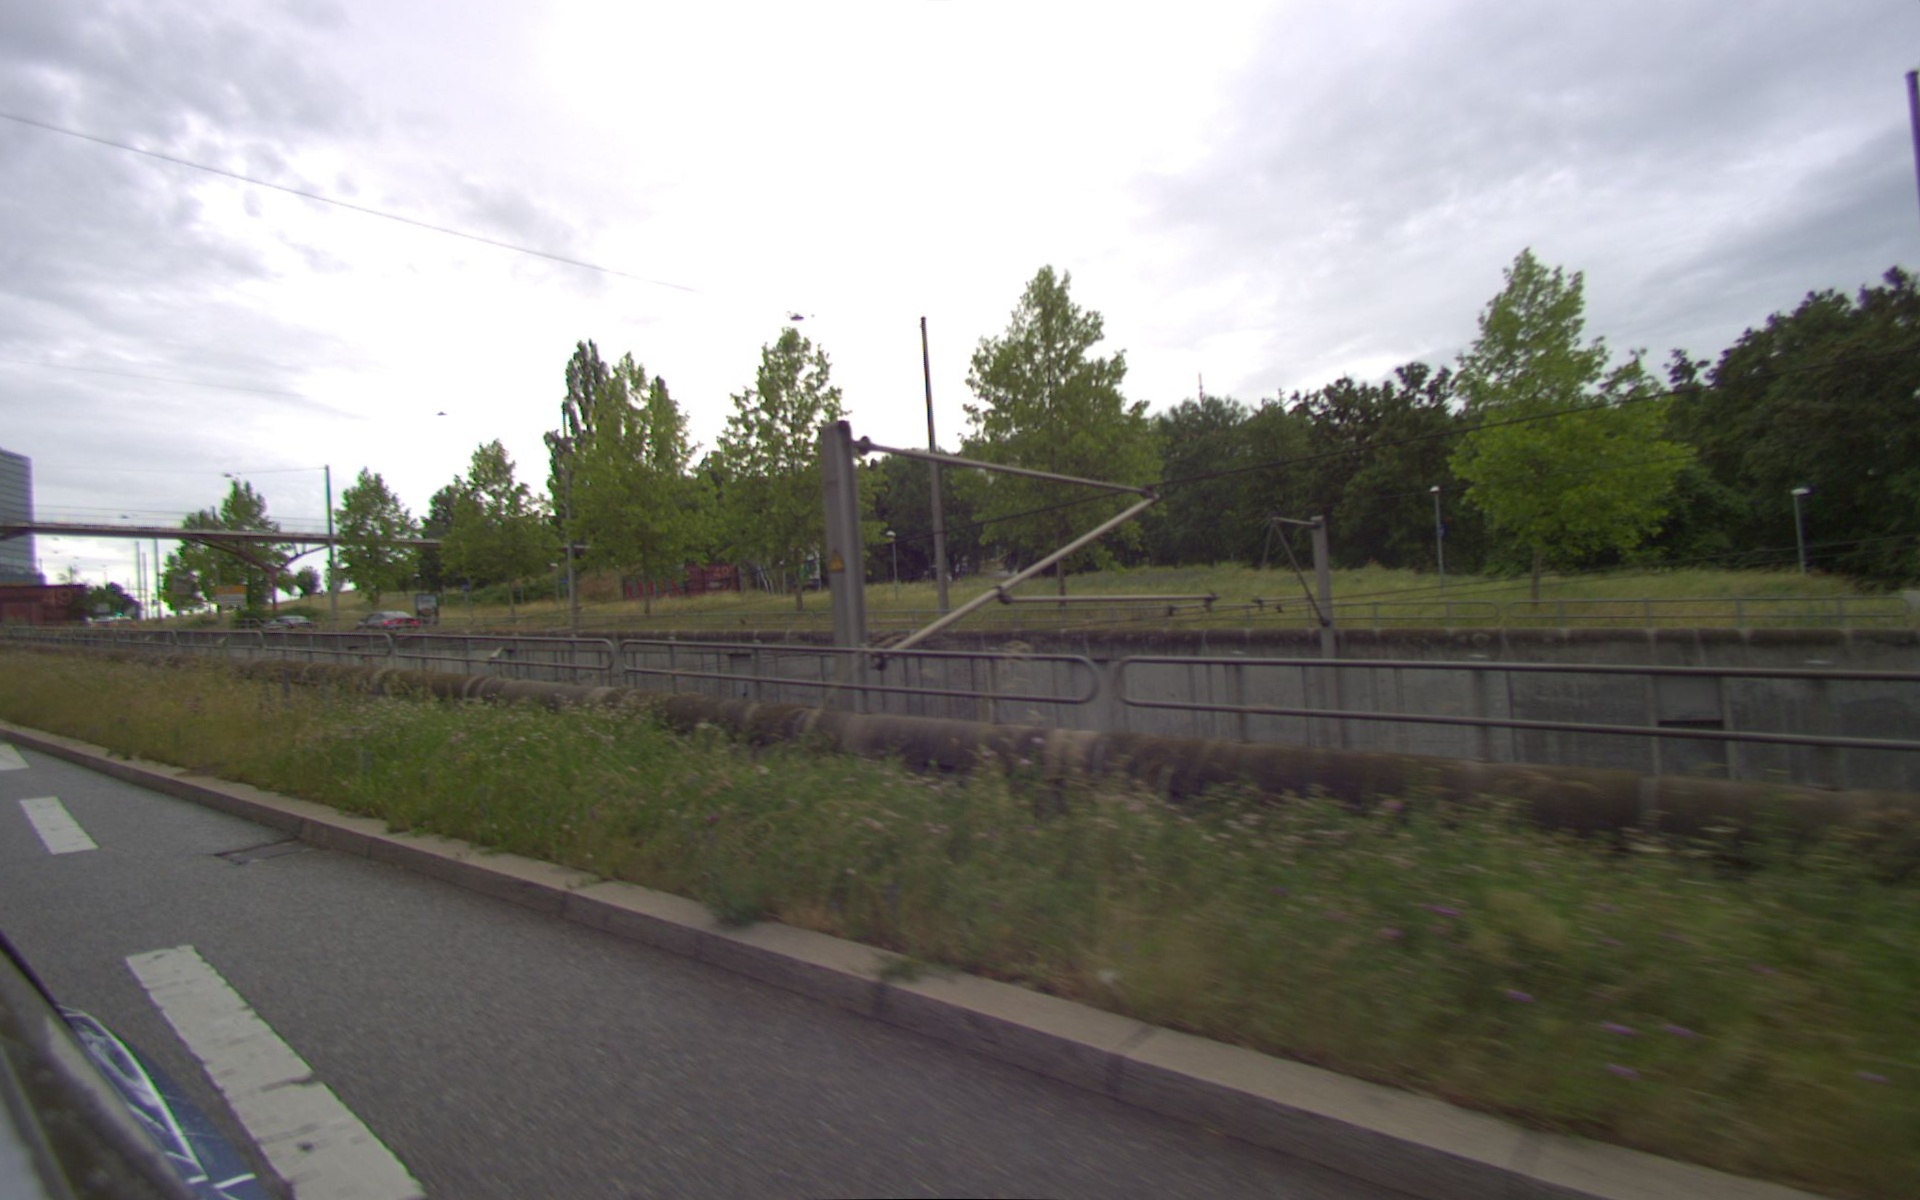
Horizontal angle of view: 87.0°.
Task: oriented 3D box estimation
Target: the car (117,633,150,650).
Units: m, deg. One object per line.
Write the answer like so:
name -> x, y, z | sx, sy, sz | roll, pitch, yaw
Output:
car -> -85.904, 4.274, 105.122 | 3.783, 1.585, 1.643 | -2, 2, 35

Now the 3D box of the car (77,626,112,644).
car -> -80.235, 3.228, 93.783 | 4.430, 1.539, 1.641 | -3, 0, 39

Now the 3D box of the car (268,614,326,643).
car -> -41.601, 1.795, 63.492 | 3.968, 1.653, 1.872 | -2, 0, 39

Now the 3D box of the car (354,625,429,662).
car -> -29.696, 2.248, 52.799 | 4.352, 1.656, 1.873 | -2, 3, 39
